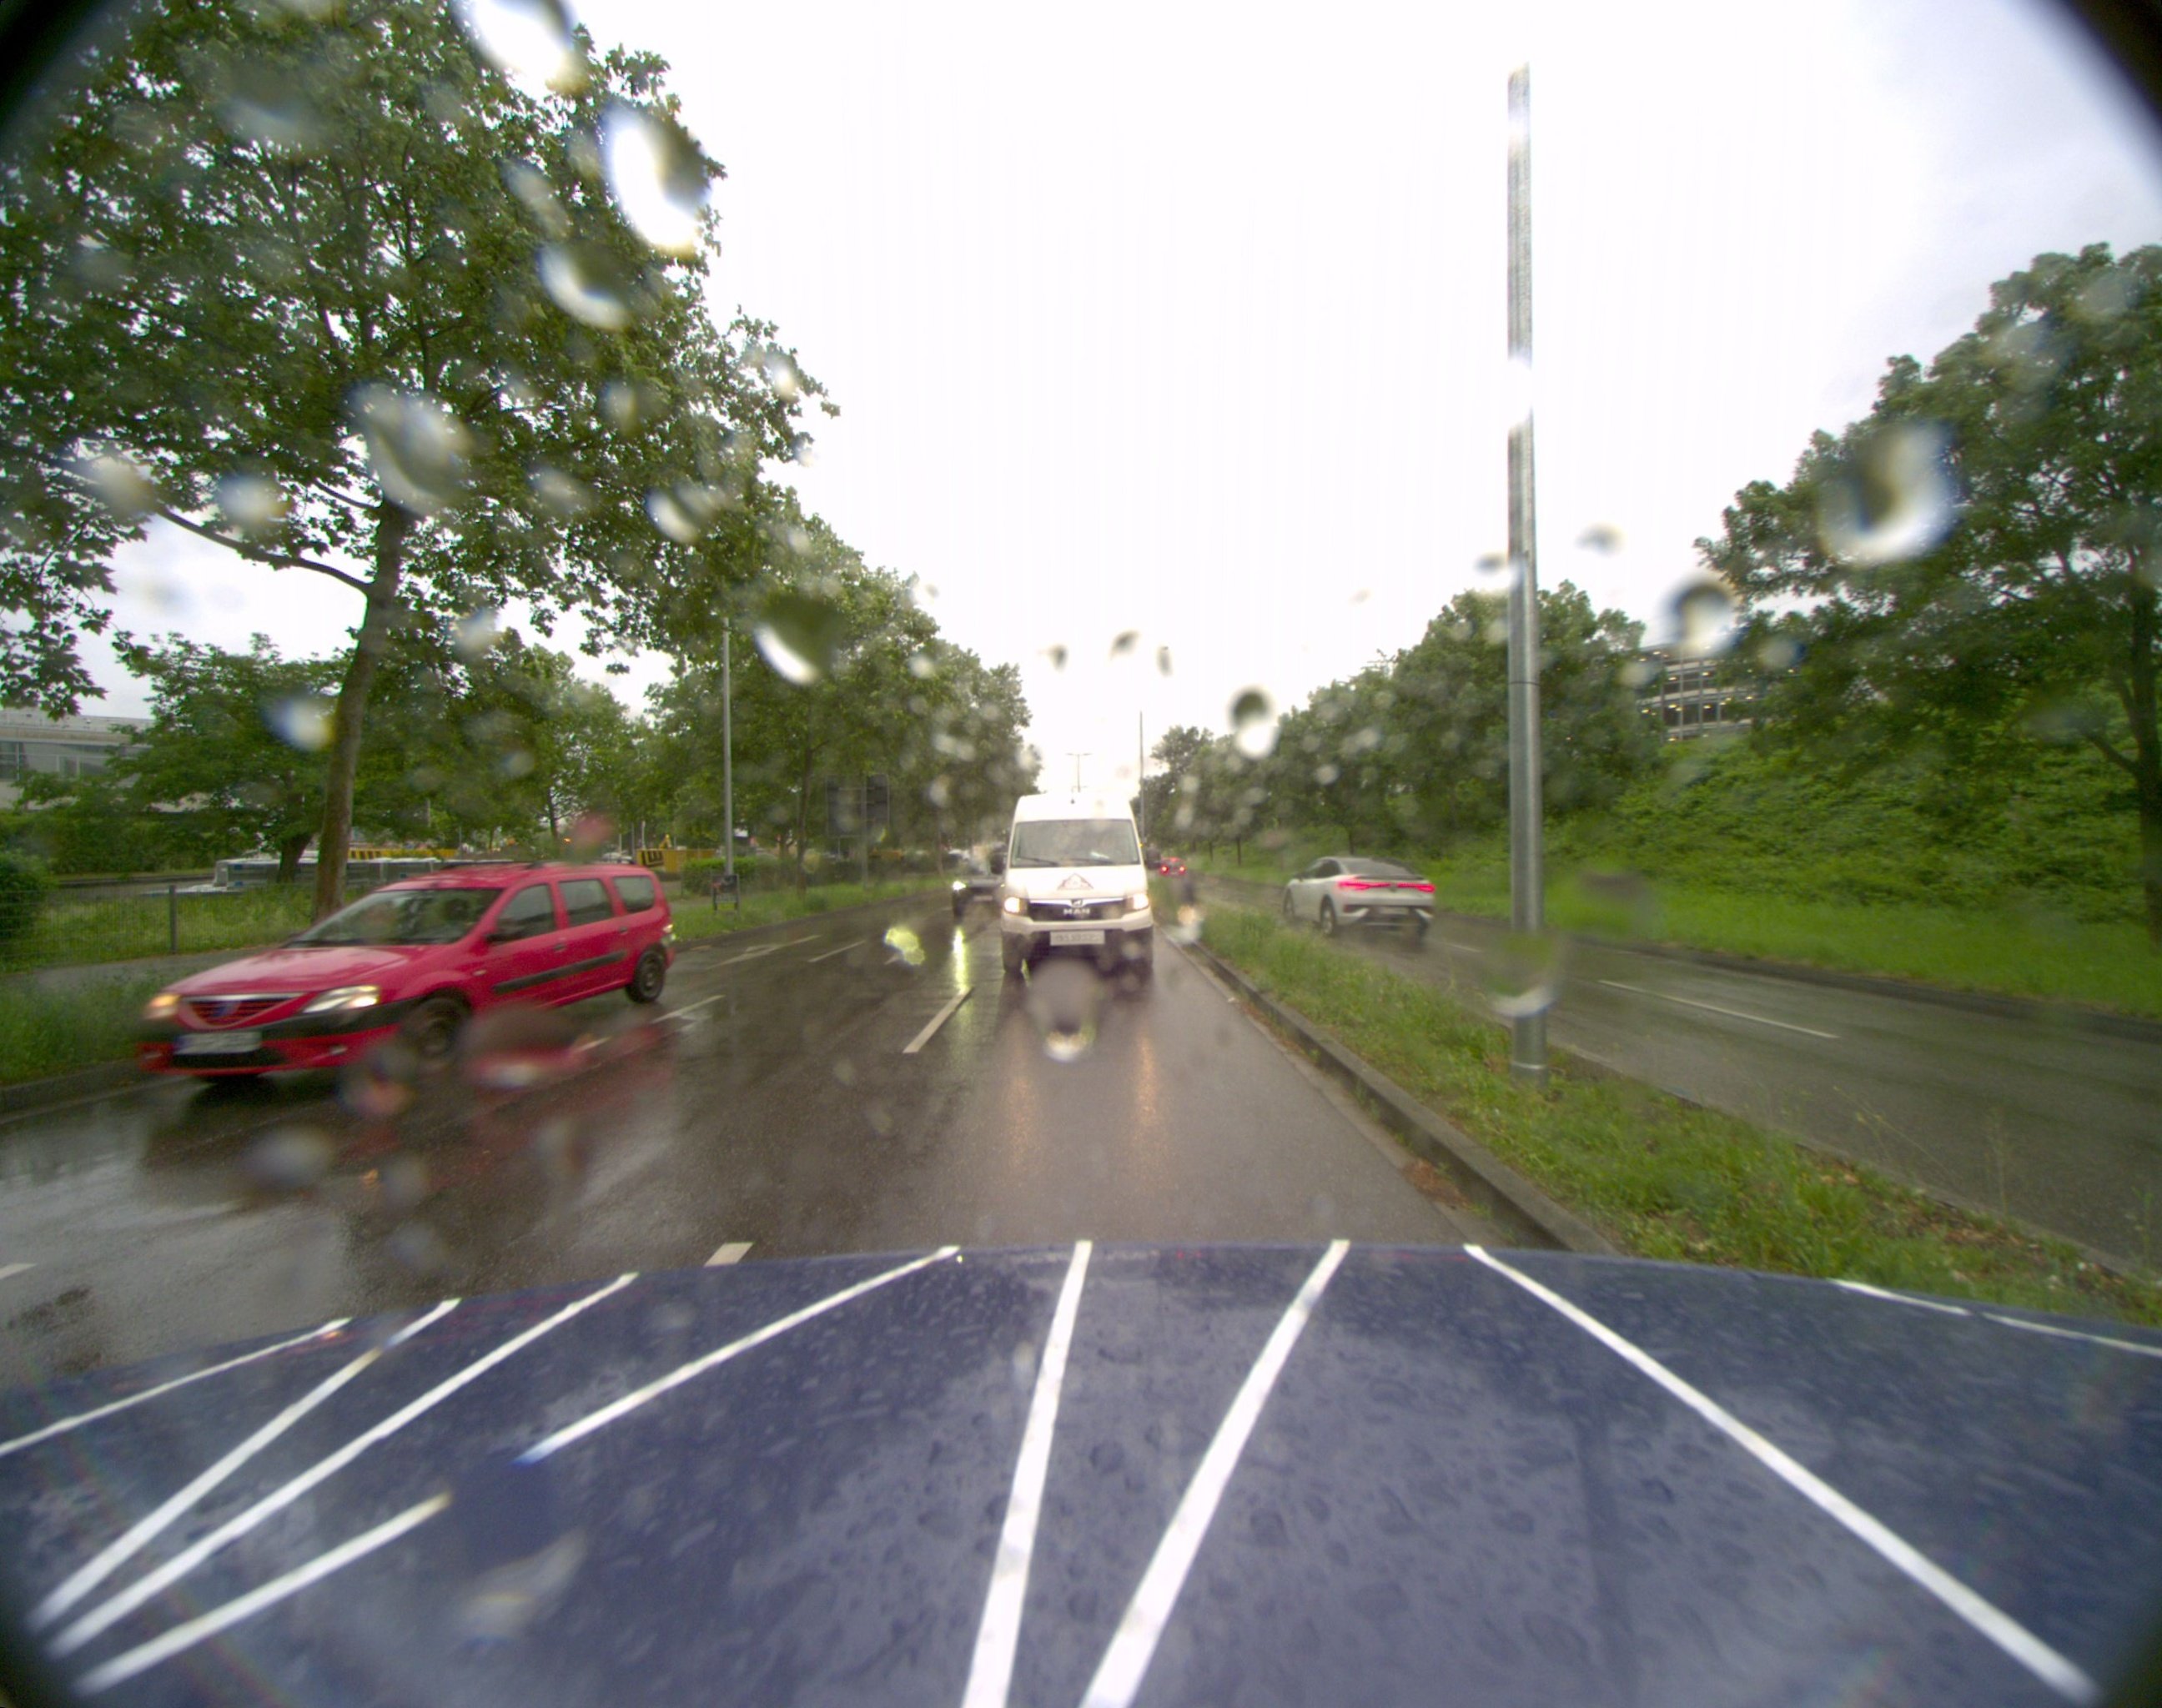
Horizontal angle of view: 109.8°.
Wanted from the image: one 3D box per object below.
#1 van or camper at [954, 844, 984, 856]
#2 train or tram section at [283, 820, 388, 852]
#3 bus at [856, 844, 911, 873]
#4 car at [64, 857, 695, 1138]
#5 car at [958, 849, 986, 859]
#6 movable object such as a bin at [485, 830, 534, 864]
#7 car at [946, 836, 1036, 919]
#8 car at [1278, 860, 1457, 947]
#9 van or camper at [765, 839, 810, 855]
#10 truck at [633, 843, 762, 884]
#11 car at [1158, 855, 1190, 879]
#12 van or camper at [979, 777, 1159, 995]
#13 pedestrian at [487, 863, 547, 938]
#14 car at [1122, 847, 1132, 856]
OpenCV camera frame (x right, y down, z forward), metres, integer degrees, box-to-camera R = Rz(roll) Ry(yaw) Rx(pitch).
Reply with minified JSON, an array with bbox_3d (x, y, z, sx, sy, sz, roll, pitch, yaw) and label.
[{"bbox_3d":[-19.653,-0.665,133.598,4.918,2.076,1.863,-1,1,-38],"label":"van or camper"},{"bbox_3d":[-87.072,-2.161,88.991,8.385,3.500,2.393,-3,3,-38],"label":"train or tram section"},{"bbox_3d":[-19.372,0.420,74.576,4.804,2.632,2.000,-1,1,1],"label":"bus"},{"bbox_3d":[-5.756,0.956,7.258,1.699,1.759,4.557,-1,1,1],"label":"car"},{"bbox_3d":[-18.658,-0.024,130.256,4.470,1.663,1.863,-1,1,-38],"label":"car"},{"bbox_3d":[-63.679,-0.799,84.635,3.602,3.605,3.326,0,2,35],"label":"movable object such as a bin"},{"bbox_3d":[-2.523,0.598,22.438,1.935,2.120,4.557,-2,1,1],"label":"car"},{"bbox_3d":[5.613,0.894,15.564,1.967,1.516,4.334,1,0,-1],"label":"car"},{"bbox_3d":[-65.889,-1.619,170.693,8.994,3.140,2.979,-3,3,-35],"label":"van or camper"},{"bbox_3d":[-33.025,0.690,65.698,9.517,3.015,3.073,-3,3,-35],"label":"truck"},{"bbox_3d":[6.128,0.838,50.456,1.720,1.504,3.614,1,0,1],"label":"car"},{"bbox_3d":[-0.099,0.367,11.611,2.100,2.580,4.775,-2,1,1],"label":"van or camper"},{"bbox_3d":[-13.699,1.106,18.484,0.666,1.752,1.075,-1,1,-5],"label":"pedestrian"},{"bbox_3d":[8.757,-0.464,144.331,1.700,1.608,3.847,-1,1,1],"label":"car"}]
